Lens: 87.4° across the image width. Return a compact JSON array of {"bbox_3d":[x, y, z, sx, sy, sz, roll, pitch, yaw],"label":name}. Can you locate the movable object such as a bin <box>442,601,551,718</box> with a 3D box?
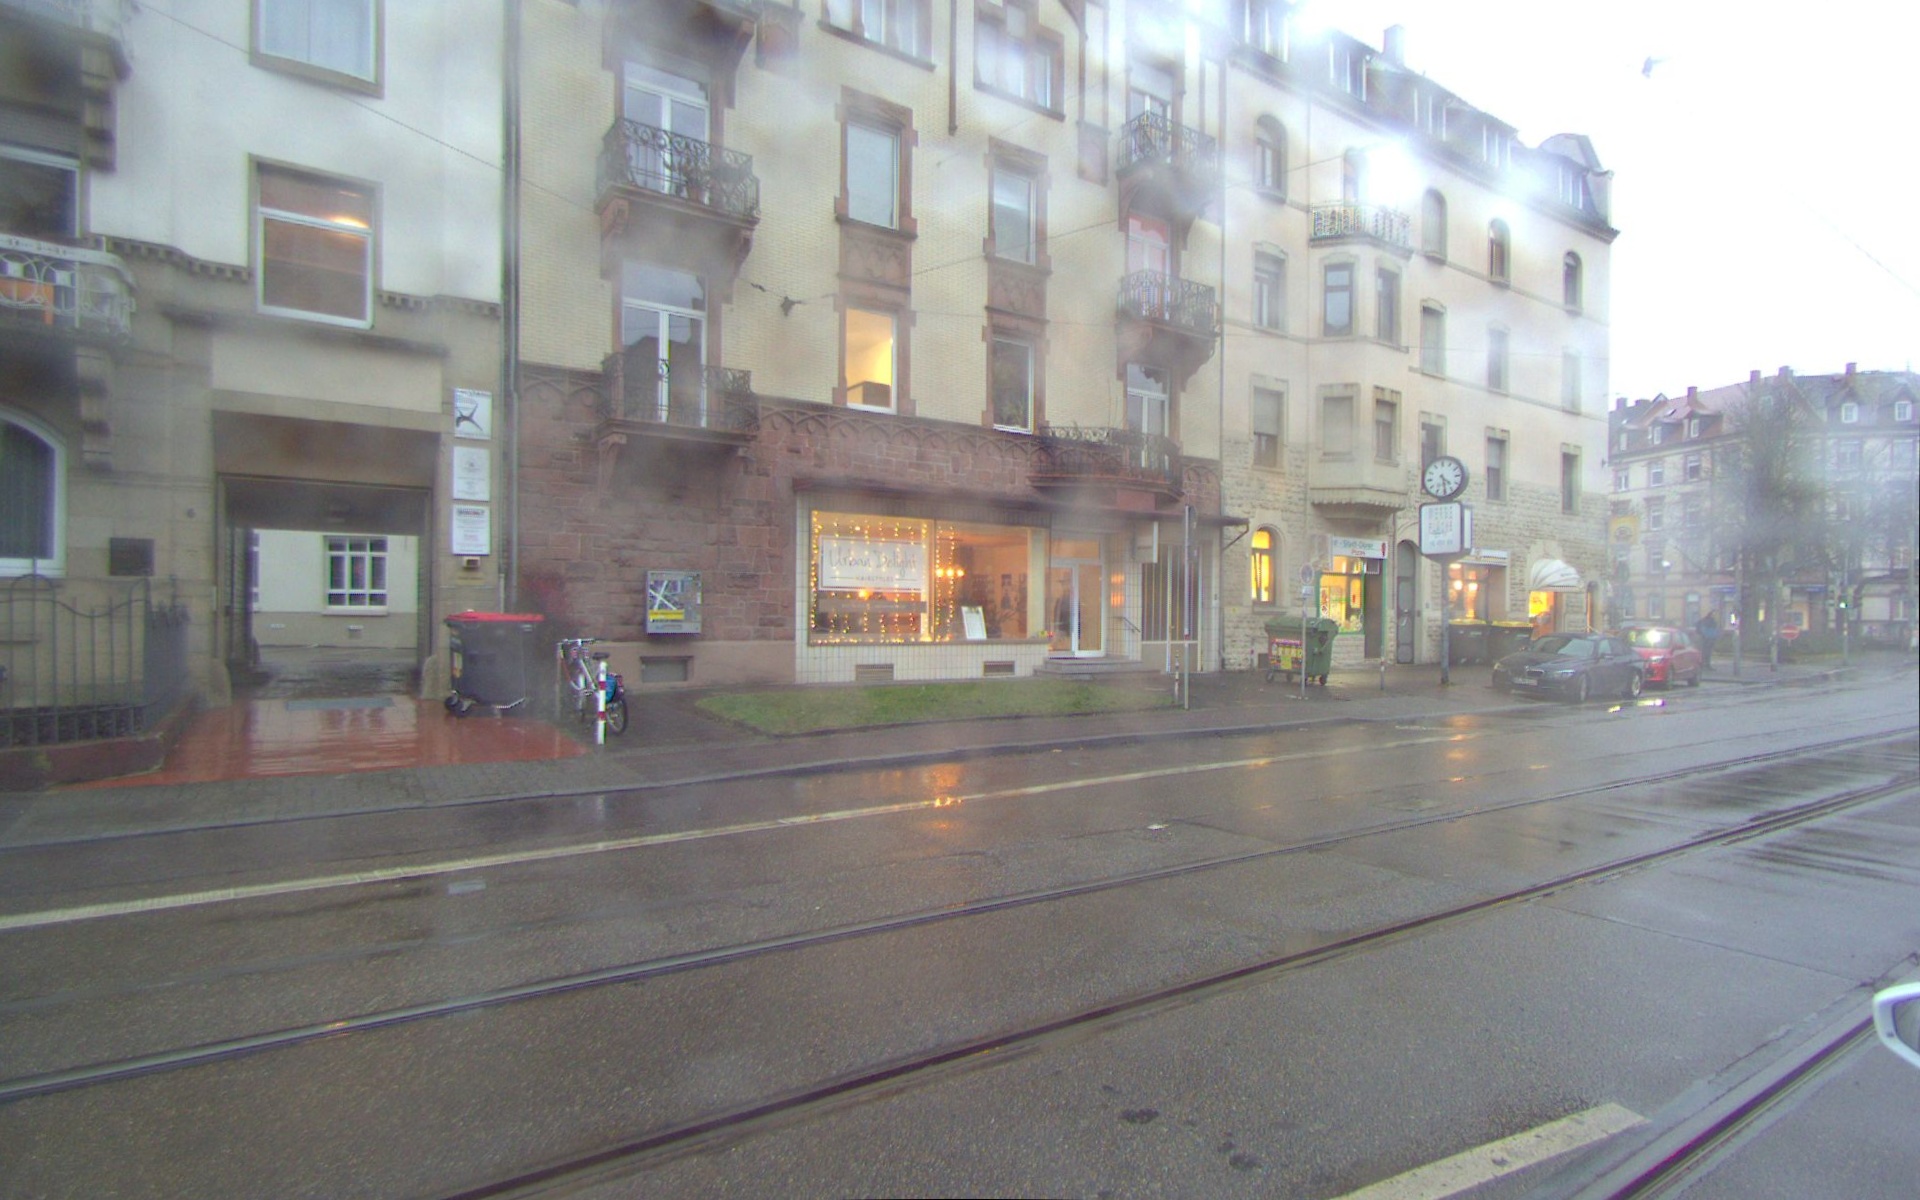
[{"bbox_3d":[-6.074,0.744,13.145,1.155,1.398,1.096,1,2,-32],"label":"movable object such as a bin"}]

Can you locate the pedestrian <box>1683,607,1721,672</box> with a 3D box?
[{"bbox_3d":[23.815,1.263,32.255,0.635,2.040,0.758,1,0,3],"label":"pedestrian"}]

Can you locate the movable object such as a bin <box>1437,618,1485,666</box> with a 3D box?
[{"bbox_3d":[14.929,1.248,29.928,0.996,1.396,0.893,1,0,-33],"label":"movable object such as a bin"}]

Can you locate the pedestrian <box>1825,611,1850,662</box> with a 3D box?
[{"bbox_3d":[35.443,1.463,40.566,0.695,2.040,0.658,0,0,37],"label":"pedestrian"}]

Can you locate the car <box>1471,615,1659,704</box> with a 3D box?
[{"bbox_3d":[13.835,1.305,22.877,4.587,1.667,1.972,2,3,-37],"label":"car"}]

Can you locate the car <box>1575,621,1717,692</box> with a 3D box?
[{"bbox_3d":[18.351,1.431,26.821,3.997,1.573,2.021,0,3,-39],"label":"car"}]

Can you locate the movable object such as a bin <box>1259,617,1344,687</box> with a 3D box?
[{"bbox_3d":[7.435,1.107,21.890,1.236,1.439,1.260,1,0,-33],"label":"movable object such as a bin"}]

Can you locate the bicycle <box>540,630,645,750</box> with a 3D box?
[{"bbox_3d":[-4.342,0.985,11.755,0.687,1.120,2.336,1,1,-32],"label":"bicycle"}]

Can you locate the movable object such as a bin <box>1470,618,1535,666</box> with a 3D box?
[{"bbox_3d":[16.334,1.259,30.269,1.239,1.385,1.286,1,0,-34],"label":"movable object such as a bin"}]
